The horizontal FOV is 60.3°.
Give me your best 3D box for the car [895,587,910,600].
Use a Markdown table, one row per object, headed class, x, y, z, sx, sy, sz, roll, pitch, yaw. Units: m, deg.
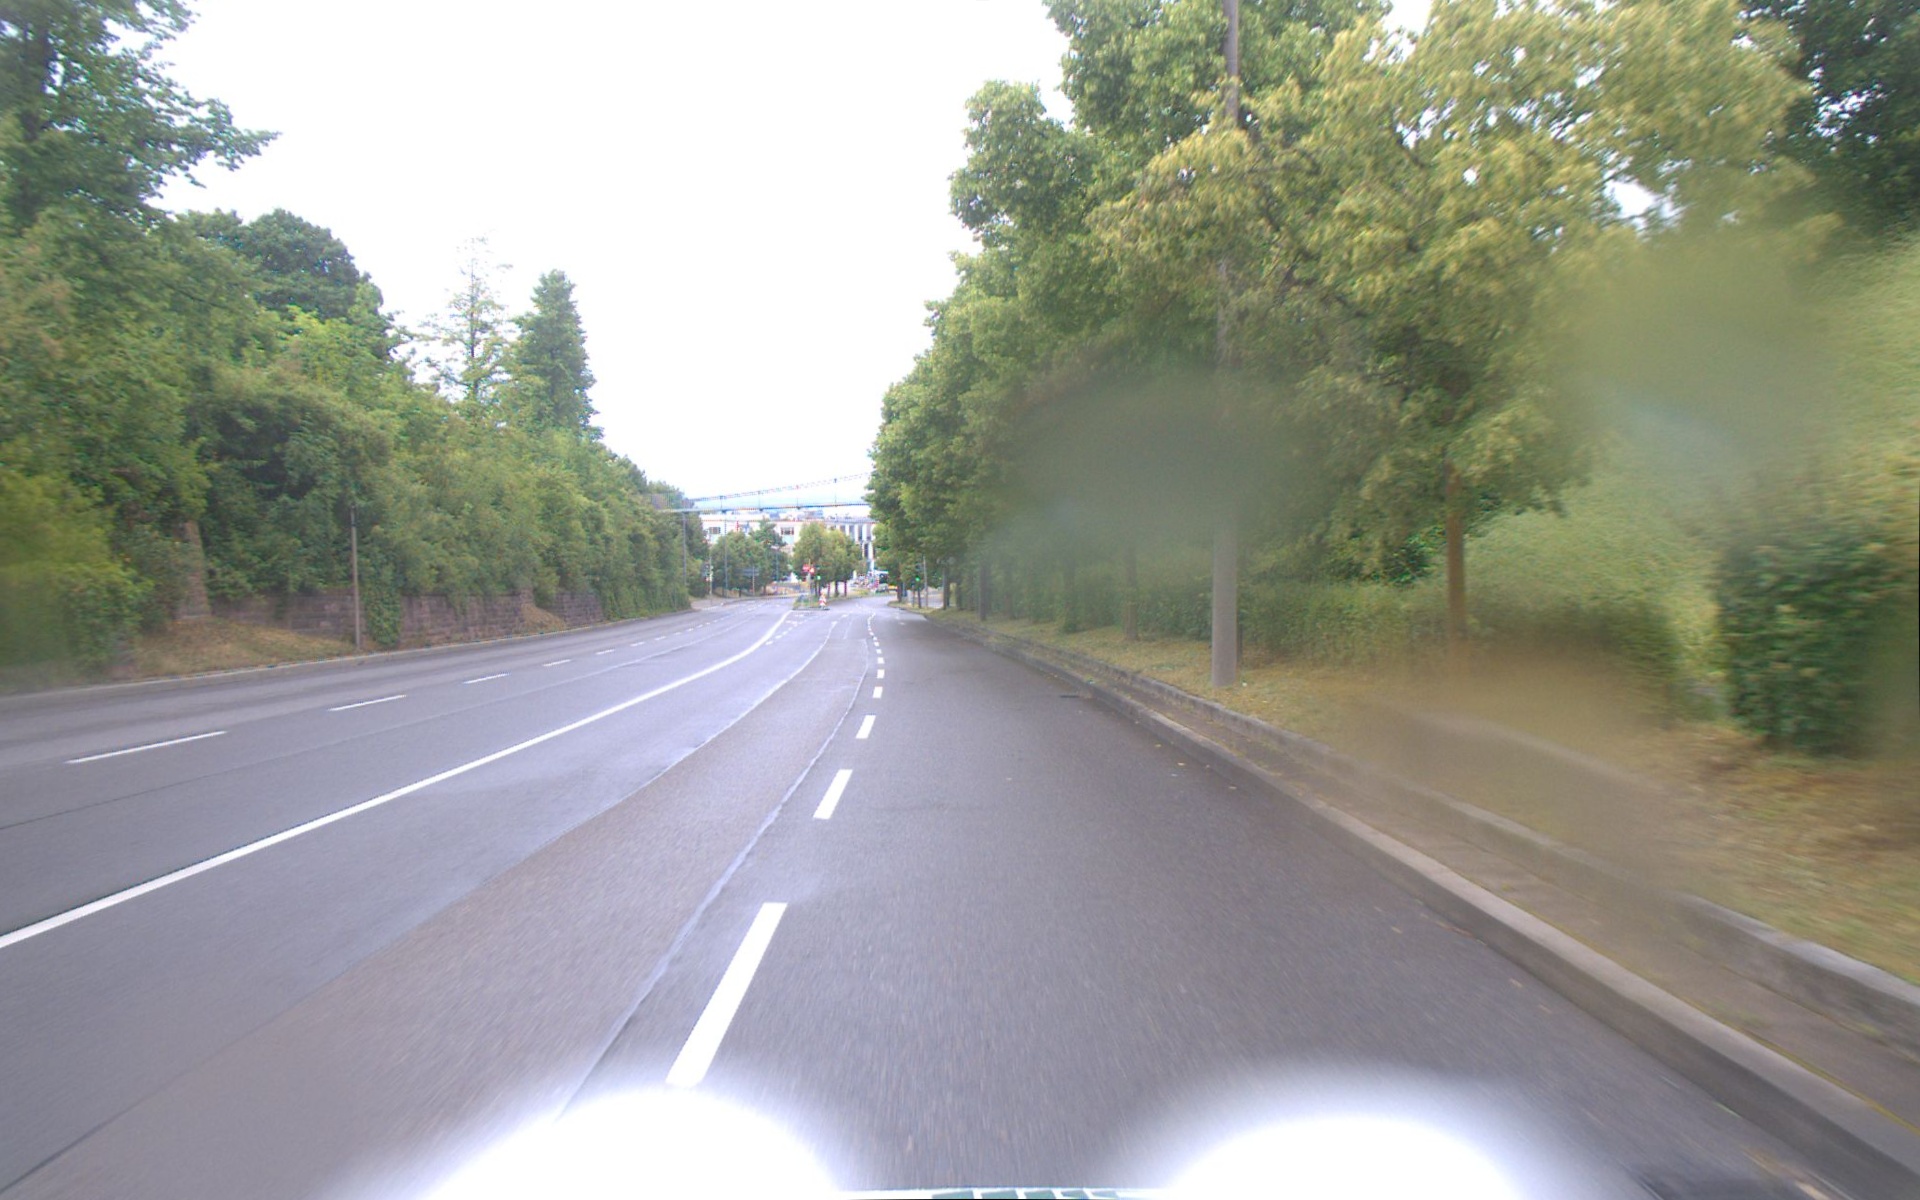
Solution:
| class | x | y | z | sx | sy | sz | roll | pitch | yaw |
| --- | --- | --- | --- | --- | --- | --- | --- | --- | --- |
| car | -8.029 | -0.925 | 231.292 | 1.811 | 1.731 | 3.794 | 1 | -1 | 2 |
